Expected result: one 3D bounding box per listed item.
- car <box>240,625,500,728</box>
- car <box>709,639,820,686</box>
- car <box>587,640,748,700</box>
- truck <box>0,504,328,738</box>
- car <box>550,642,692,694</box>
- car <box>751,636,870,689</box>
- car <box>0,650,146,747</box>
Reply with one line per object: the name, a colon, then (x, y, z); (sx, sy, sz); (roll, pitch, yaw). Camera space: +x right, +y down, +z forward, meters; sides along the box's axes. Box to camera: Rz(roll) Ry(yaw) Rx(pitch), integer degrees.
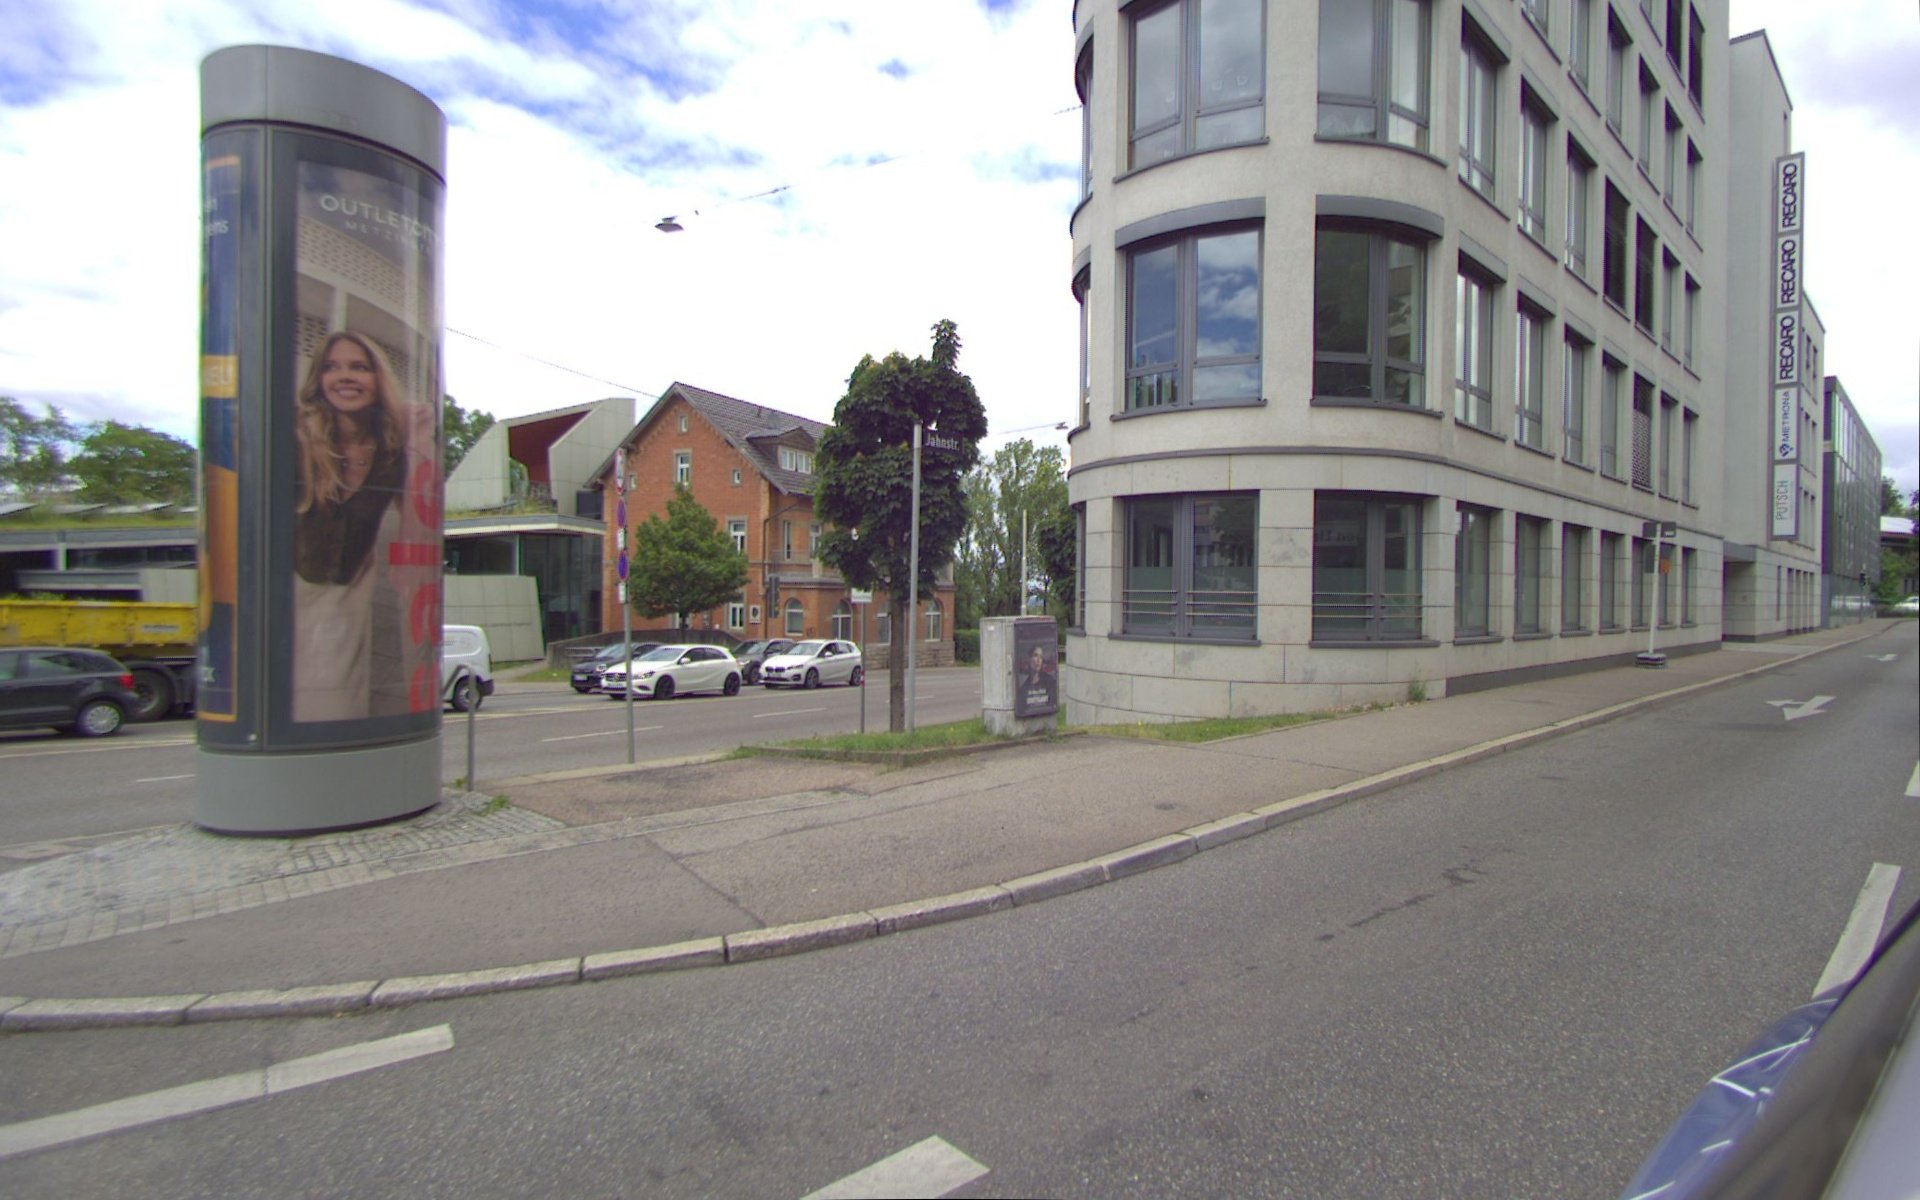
car: (-11.763, 1.437, 20.474); (1.741, 1.820, 4.239); (-1, -2, 31)
car: (-6.817, 2.156, 35.697); (1.672, 1.459, 3.940); (-1, -2, 31)
car: (-7.704, 1.810, 27.104); (1.738, 1.394, 4.246); (-1, -2, 27)
truck: (-17.136, 0.377, 18.375); (2.807, 3.976, 9.347); (-1, -1, 32)
car: (-10.094, 1.983, 30.400); (1.672, 1.350, 3.940); (-1, -2, 31)
car: (-4.820, 2.002, 33.195); (1.720, 1.589, 4.285); (-3, -3, 26)
car: (-15.104, 1.510, 15.400); (1.642, 1.392, 3.929); (-1, -2, 33)
